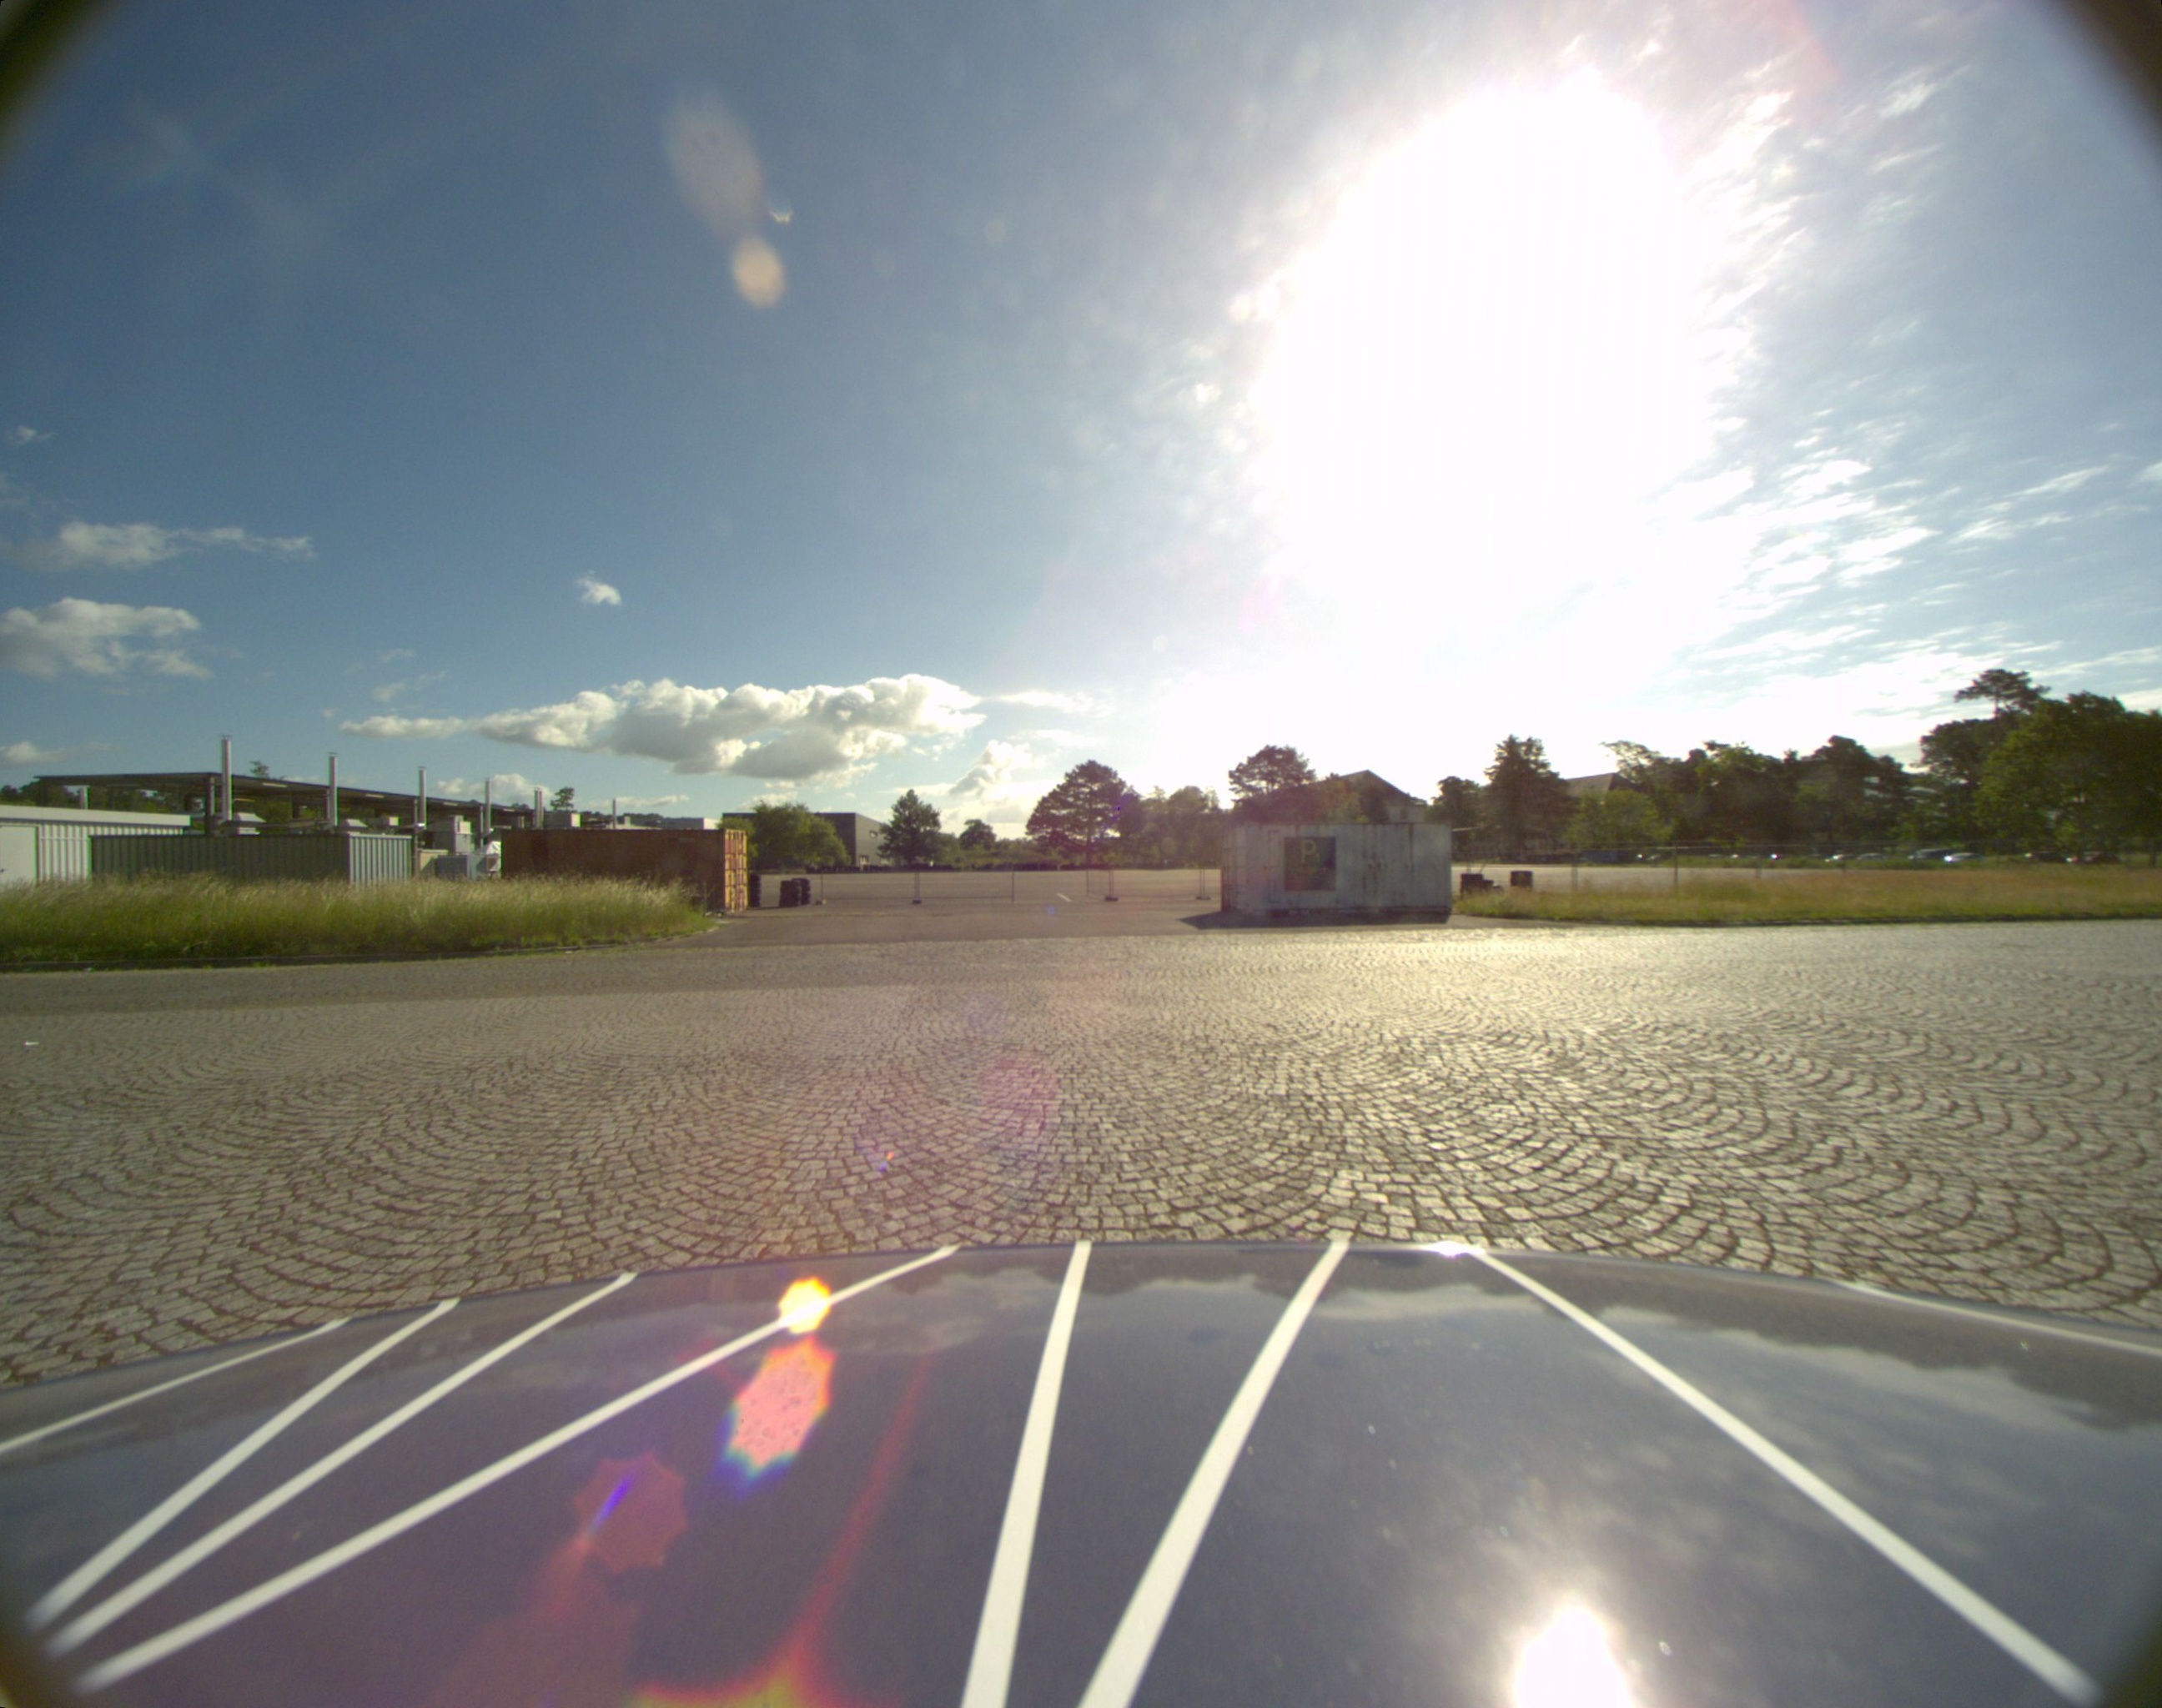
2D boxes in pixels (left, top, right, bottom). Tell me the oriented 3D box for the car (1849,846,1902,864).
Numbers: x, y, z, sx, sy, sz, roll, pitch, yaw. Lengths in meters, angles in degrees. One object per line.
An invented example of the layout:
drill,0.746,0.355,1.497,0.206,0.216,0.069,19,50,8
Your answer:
car,92.502,0.114,88.458,3.997,2.001,2.001,-1,-2,-1

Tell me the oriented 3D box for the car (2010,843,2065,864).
car,93.912,-0.058,74.588,4.002,2.002,1.997,-1,0,-16

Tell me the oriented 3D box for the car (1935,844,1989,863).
car,93.584,-0.055,80.738,4.000,1.936,1.998,-1,1,-10

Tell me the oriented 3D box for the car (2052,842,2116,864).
car,94.605,-0.082,71.700,4.000,2.002,1.998,-1,0,-9
